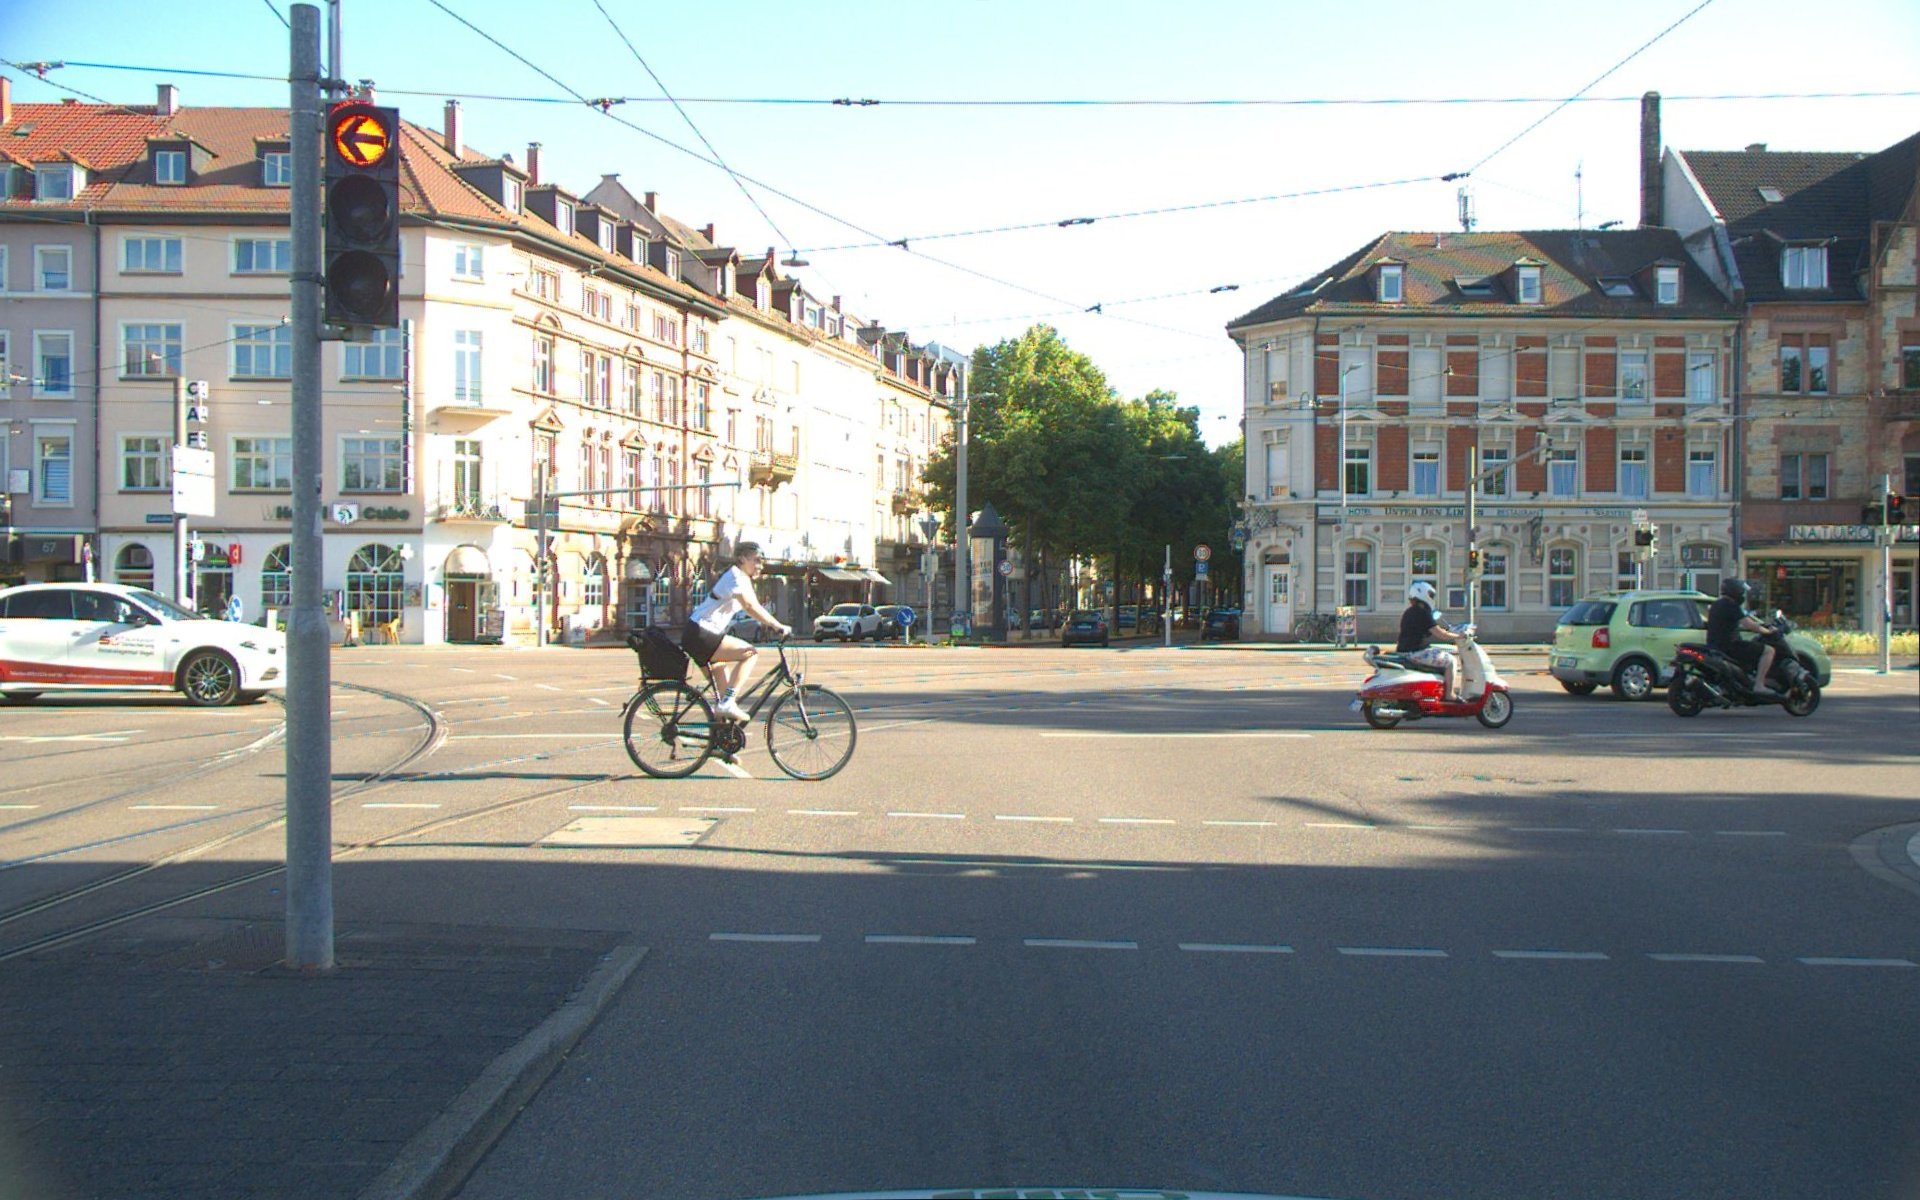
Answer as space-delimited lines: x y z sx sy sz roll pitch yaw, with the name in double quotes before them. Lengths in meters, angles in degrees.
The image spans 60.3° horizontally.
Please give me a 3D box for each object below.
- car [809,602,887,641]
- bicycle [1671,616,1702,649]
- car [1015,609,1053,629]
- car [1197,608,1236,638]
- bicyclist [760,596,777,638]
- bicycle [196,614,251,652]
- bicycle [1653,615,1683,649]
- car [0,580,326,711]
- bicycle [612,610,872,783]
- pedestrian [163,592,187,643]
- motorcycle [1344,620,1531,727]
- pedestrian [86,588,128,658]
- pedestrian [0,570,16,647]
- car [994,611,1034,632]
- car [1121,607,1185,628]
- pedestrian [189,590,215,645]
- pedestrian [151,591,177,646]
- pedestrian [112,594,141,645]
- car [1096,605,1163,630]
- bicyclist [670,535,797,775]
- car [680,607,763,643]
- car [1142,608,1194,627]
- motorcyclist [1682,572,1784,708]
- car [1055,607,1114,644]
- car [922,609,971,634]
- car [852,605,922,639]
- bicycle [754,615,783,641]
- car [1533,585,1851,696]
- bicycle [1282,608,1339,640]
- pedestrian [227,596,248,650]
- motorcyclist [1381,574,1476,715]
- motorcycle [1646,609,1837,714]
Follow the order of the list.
"car" -4.525 0.845 67.381 1.951 1.542 4.172 0 0 15
"bicycle" 23.595 1.044 53.735 0.476 1.038 1.785 0 0 9
"car" 5.484 1.374 122.634 1.951 1.429 4.172 0 0 15
"car" 12.860 1.140 82.699 1.717 1.445 4.003 0 0 12
"bicyclist" -7.541 0.651 65.062 0.479 1.629 0.667 0 0 9
"bicycle" -25.080 1.117 56.334 1.684 1.299 0.385 0 0 -18
"bicycle" 22.910 1.032 53.553 0.476 1.038 1.785 0 0 9
"car" -10.364 0.527 20.232 4.585 1.499 1.738 -1 1 -10
"bicycle" -1.631 0.703 12.468 1.886 1.244 0.741 0 0 -8
"pedestrian" -26.289 0.572 55.401 0.731 1.711 0.623 0 0 -26
"motorcycle" 5.275 0.800 18.275 1.989 1.138 0.503 0 0 -12
"pedestrian" -21.247 0.570 41.217 0.725 1.711 0.628 0 0 -1
"pedestrian" -23.024 0.202 39.591 0.548 1.817 0.560 0 0 -1
"car" 3.825 1.480 116.888 1.951 1.429 4.172 0 0 15
"car" 12.324 1.137 105.555 3.902 1.311 1.696 0 0 10
"pedestrian" -23.708 0.546 51.716 0.731 1.711 0.623 0 0 -26
"pedestrian" -24.947 0.582 51.830 0.731 1.711 0.623 0 0 -26
"pedestrian" -28.149 0.666 55.888 0.727 1.711 0.626 0 0 -12
"car" 10.257 1.035 99.817 3.902 1.480 1.683 0 0 10
"bicyclist" -1.701 0.397 12.454 0.921 1.743 0.732 0 0 -8
"car" -9.593 0.983 66.875 1.951 1.385 3.821 0 0 15
"car" 14.053 1.147 111.655 3.360 1.261 1.578 0 0 10
"motorcyclist" 9.550 0.489 20.453 0.817 1.648 0.814 1 -1 -12
"car" 4.665 0.924 62.459 1.683 1.323 4.071 0 0 -3
"car" -0.811 1.314 102.050 1.951 1.429 4.172 0 0 15
"car" -3.220 0.950 73.573 1.951 1.429 4.172 0 0 15
"bicycle" -7.551 1.096 65.161 0.641 1.018 1.666 1 0 11
"car" 10.463 0.549 23.772 3.881 1.525 1.738 0 0 -8
"bicycle" 12.181 0.827 57.507 1.911 1.072 0.716 0 0 9
"pedestrian" -17.253 0.543 39.496 0.358 1.275 0.449 0 0 -12
"motorcyclist" 5.175 0.479 18.298 0.800 1.534 0.657 0 0 -13
"motorcycle" 9.667 0.741 20.472 2.166 1.250 0.693 0 0 -12
